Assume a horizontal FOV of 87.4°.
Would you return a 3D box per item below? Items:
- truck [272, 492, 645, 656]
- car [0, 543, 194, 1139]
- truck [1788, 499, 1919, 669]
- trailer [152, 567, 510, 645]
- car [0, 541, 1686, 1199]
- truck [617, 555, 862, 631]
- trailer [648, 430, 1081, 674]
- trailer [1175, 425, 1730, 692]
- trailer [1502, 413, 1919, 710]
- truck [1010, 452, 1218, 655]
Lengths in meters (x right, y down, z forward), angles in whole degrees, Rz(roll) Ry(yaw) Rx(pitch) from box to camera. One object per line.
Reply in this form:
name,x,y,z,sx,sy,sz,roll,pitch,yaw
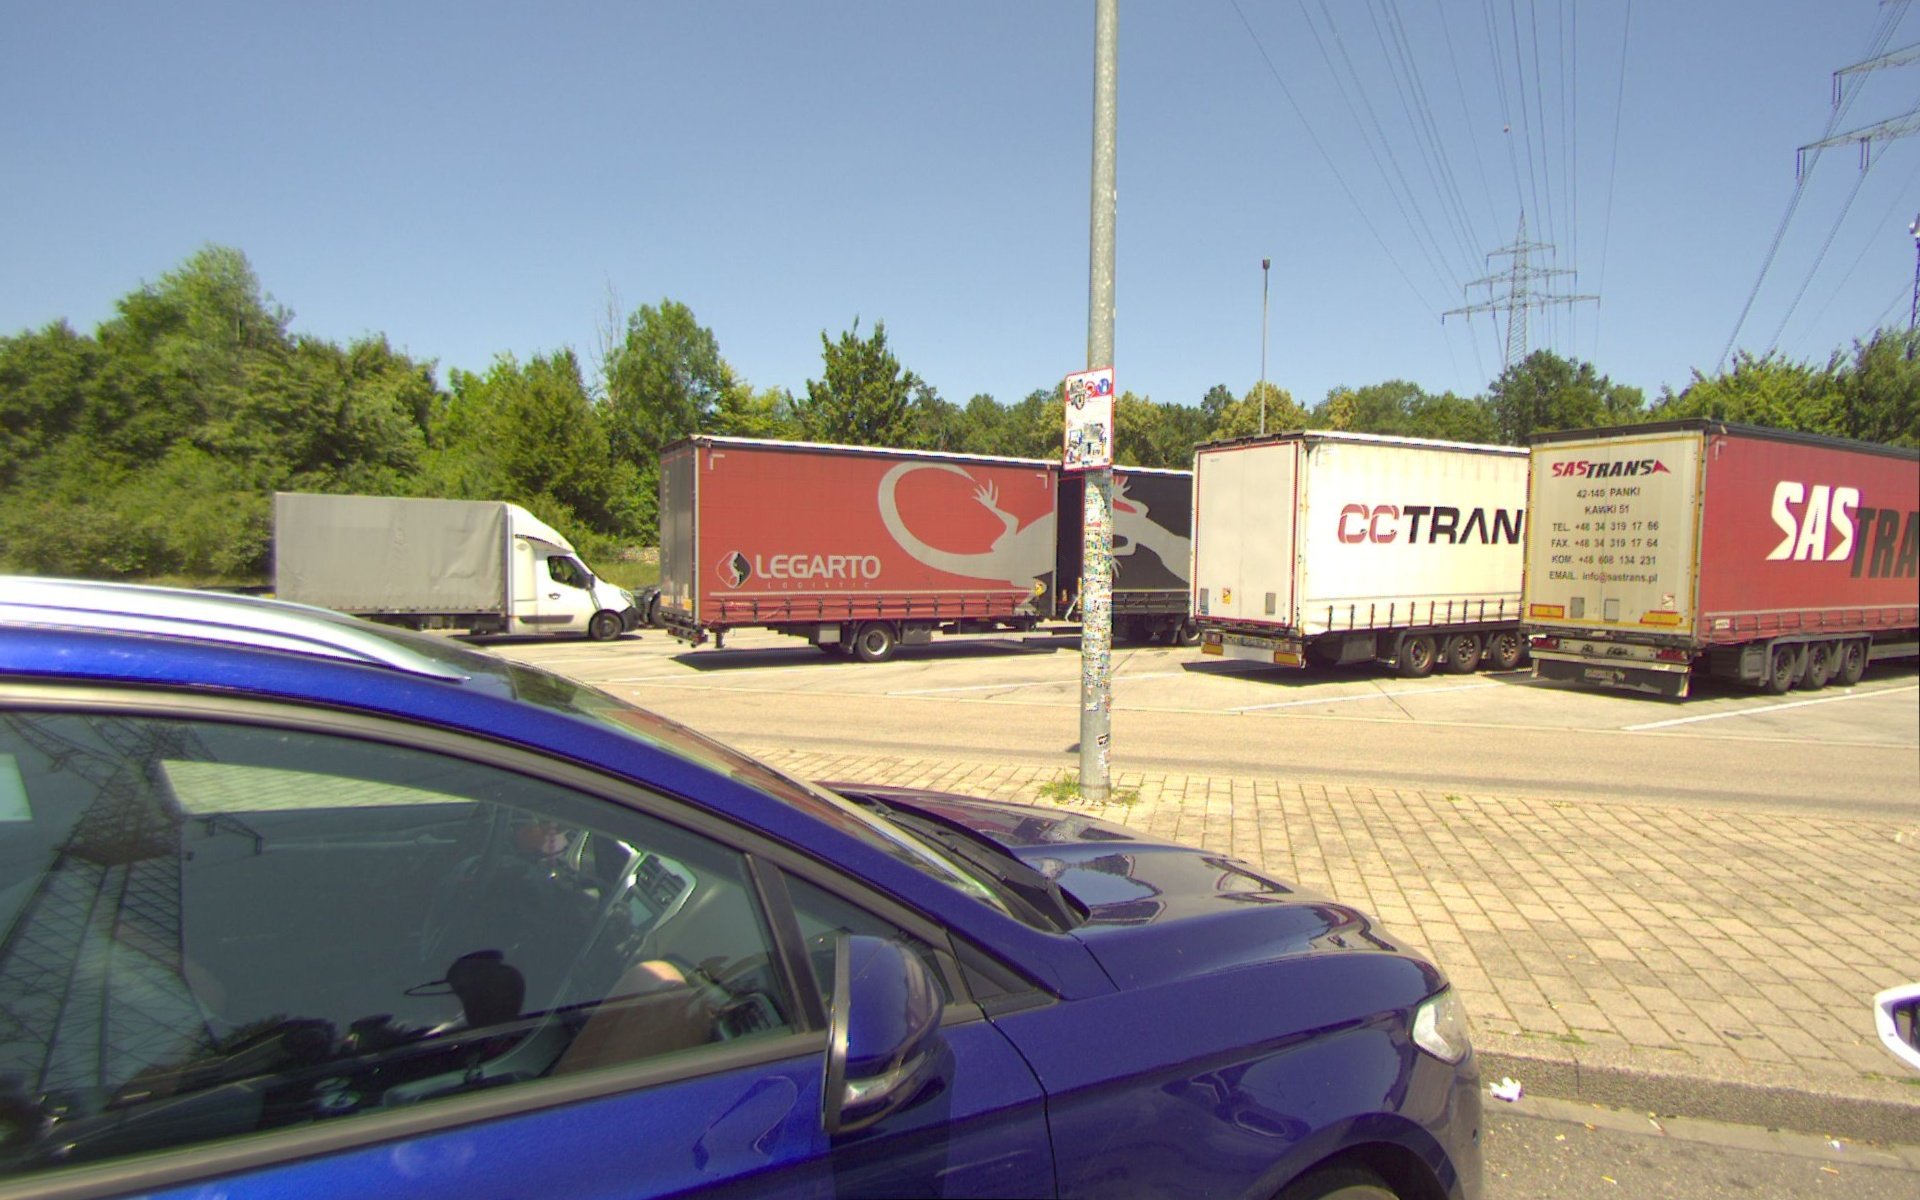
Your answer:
truck,-11.190,-0.622,23.023,7.204,3.279,2.727,-1,3,-29
car,-4.615,0.603,2.224,4.444,1.520,1.762,0,2,-32
truck,21.208,-0.391,21.999,5.829,3.373,2.837,-1,3,-30
trailer,-15.165,0.059,24.893,7.204,1.711,2.249,-1,3,-29
car,-1.038,0.681,1.491,4.444,1.511,1.859,0,2,-32
truck,-6.347,-0.227,29.273,6.733,2.041,1.987,-1,1,-26
trailer,-1.744,-0.898,20.327,8.376,4.141,2.722,-1,3,-30
trailer,10.586,-0.797,20.333,13.962,4.141,2.782,-1,3,-30
trailer,15.606,-0.689,18.722,13.962,4.141,2.777,-1,3,-30
truck,3.569,-1.063,23.447,3.947,4.298,2.723,-1,3,-30
